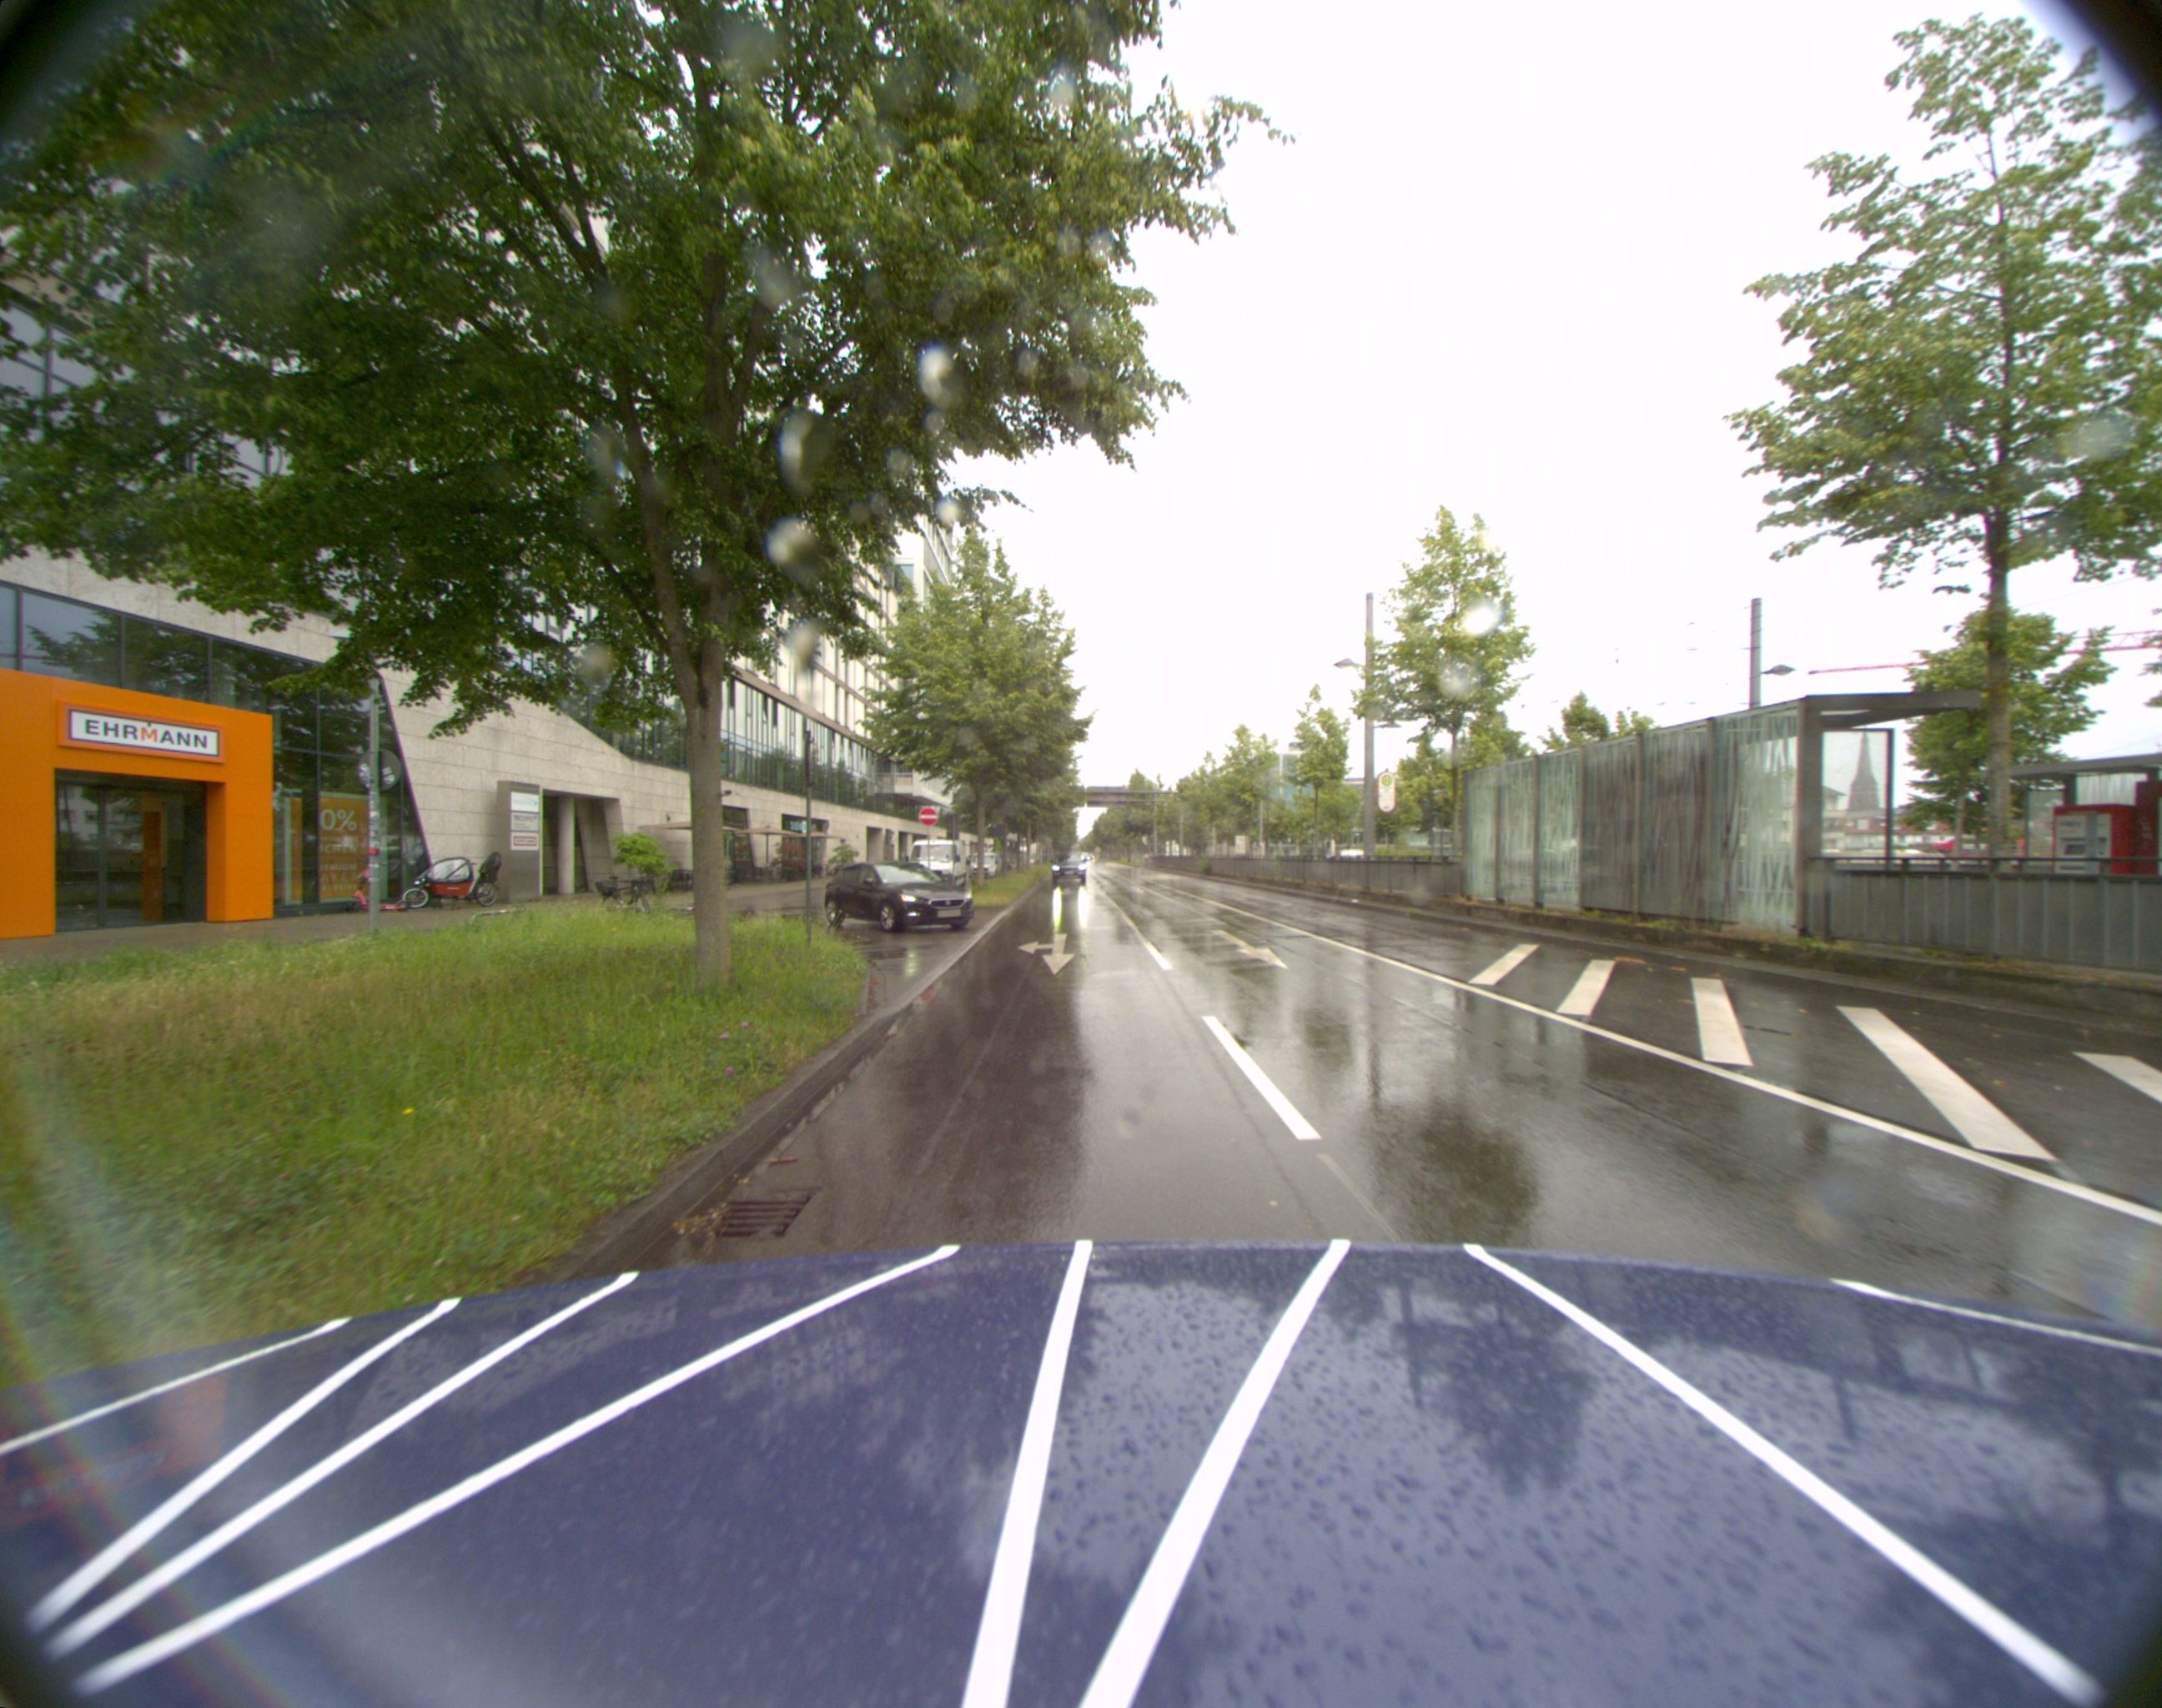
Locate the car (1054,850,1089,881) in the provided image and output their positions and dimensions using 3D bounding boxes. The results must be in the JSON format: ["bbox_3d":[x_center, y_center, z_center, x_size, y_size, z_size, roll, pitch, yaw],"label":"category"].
[{"bbox_3d":[-0.495,0.611,43.020,1.816,1.603,3.999,-2,1,1],"label":"car"}]

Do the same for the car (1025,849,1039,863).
[{"bbox_3d":[-6.515,0.300,101.599,1.659,1.711,3.999,-2,1,-1],"label":"car"}]

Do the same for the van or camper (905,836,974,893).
[{"bbox_3d":[-6.064,0.393,33.196,2.031,2.279,5.459,-1,1,-1],"label":"van or camper"}]

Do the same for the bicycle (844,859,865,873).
[{"bbox_3d":[-15.386,0.800,51.542,2.024,0.940,0.396,-1,2,45],"label":"bicycle"}]

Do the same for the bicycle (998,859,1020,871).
[{"bbox_3d":[-6.047,0.956,63.862,1.793,0.940,0.395,-2,1,-4],"label":"bicycle"}]

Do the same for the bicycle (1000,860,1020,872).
[{"bbox_3d":[-5.918,0.982,63.403,1.649,0.940,0.395,-2,1,-4],"label":"bicycle"}]

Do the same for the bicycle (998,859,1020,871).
[{"bbox_3d":[-6.118,0.948,64.599,1.862,0.940,0.395,-2,1,-4],"label":"bicycle"}]

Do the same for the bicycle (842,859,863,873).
[{"bbox_3d":[-15.217,0.806,50.509,2.024,0.940,0.396,-1,2,45],"label":"bicycle"}]

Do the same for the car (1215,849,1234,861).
[{"bbox_3d":[22.276,0.120,118.284,1.999,1.736,3.998,-2,1,-2],"label":"car"}]

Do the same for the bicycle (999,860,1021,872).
[{"bbox_3d":[-5.869,0.996,62.748,1.699,0.940,0.395,-2,1,-4],"label":"bicycle"}]

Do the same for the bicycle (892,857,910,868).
[{"bbox_3d":[-16.486,0.747,69.410,1.657,0.940,0.347,1,1,18],"label":"bicycle"}]

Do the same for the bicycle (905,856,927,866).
[{"bbox_3d":[-16.197,0.713,74.485,2.029,0.940,0.395,1,1,-4],"label":"bicycle"}]

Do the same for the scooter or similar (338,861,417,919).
[{"bbox_3d":[-15.879,0.797,17.188,0.342,1.221,1.242,-2,1,19],"label":"scooter or similar"}]

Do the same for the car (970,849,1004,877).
[{"bbox_3d":[-6.353,0.581,51.829,1.746,1.749,4.847,-1,1,-1],"label":"car"}]

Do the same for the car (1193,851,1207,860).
[{"bbox_3d":[24.913,0.380,159.468,1.999,1.736,3.998,-2,1,-2],"label":"car"}]

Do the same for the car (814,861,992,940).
[{"bbox_3d":[-3.941,0.881,16.300,1.836,1.412,4.333,-1,1,-42],"label":"car"}]

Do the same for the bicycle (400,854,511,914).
[{"bbox_3d":[-15.592,0.710,19.058,0.734,1.394,2.425,1,0,1],"label":"bicycle"}]

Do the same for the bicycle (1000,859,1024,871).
[{"bbox_3d":[-6.036,0.923,66.102,2.040,0.940,0.395,-2,1,-4],"label":"bicycle"}]

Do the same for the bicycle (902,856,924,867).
[{"bbox_3d":[-16.167,0.719,73.153,2.029,0.940,0.395,1,1,-4],"label":"bicycle"}]

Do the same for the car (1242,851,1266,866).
[{"bbox_3d":[22.504,0.585,99.139,1.999,1.736,3.998,-2,1,-2],"label":"car"}]

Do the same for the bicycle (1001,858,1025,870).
[{"bbox_3d":[-6.010,0.903,67.448,2.040,0.940,0.395,-2,1,-4],"label":"bicycle"}]

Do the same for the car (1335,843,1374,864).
[{"bbox_3d":[25.053,-0.069,69.799,1.999,1.736,3.998,-2,1,-2],"label":"car"}]

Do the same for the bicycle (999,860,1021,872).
[{"bbox_3d":[-5.788,0.979,61.977,1.666,0.940,0.395,-2,1,-4],"label":"bicycle"}]

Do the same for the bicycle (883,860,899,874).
[{"bbox_3d":[-13.485,0.884,53.926,0.402,0.940,1.859,-1,1,7],"label":"bicycle"}]

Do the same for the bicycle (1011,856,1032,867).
[{"bbox_3d":[-5.957,0.725,75.669,2.040,0.940,0.519,-2,1,-4],"label":"bicycle"}]

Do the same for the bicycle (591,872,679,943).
[{"bbox_3d":[-8.785,1.036,14.943,1.843,1.338,0.533,-1,-1,25],"label":"bicycle"}]
